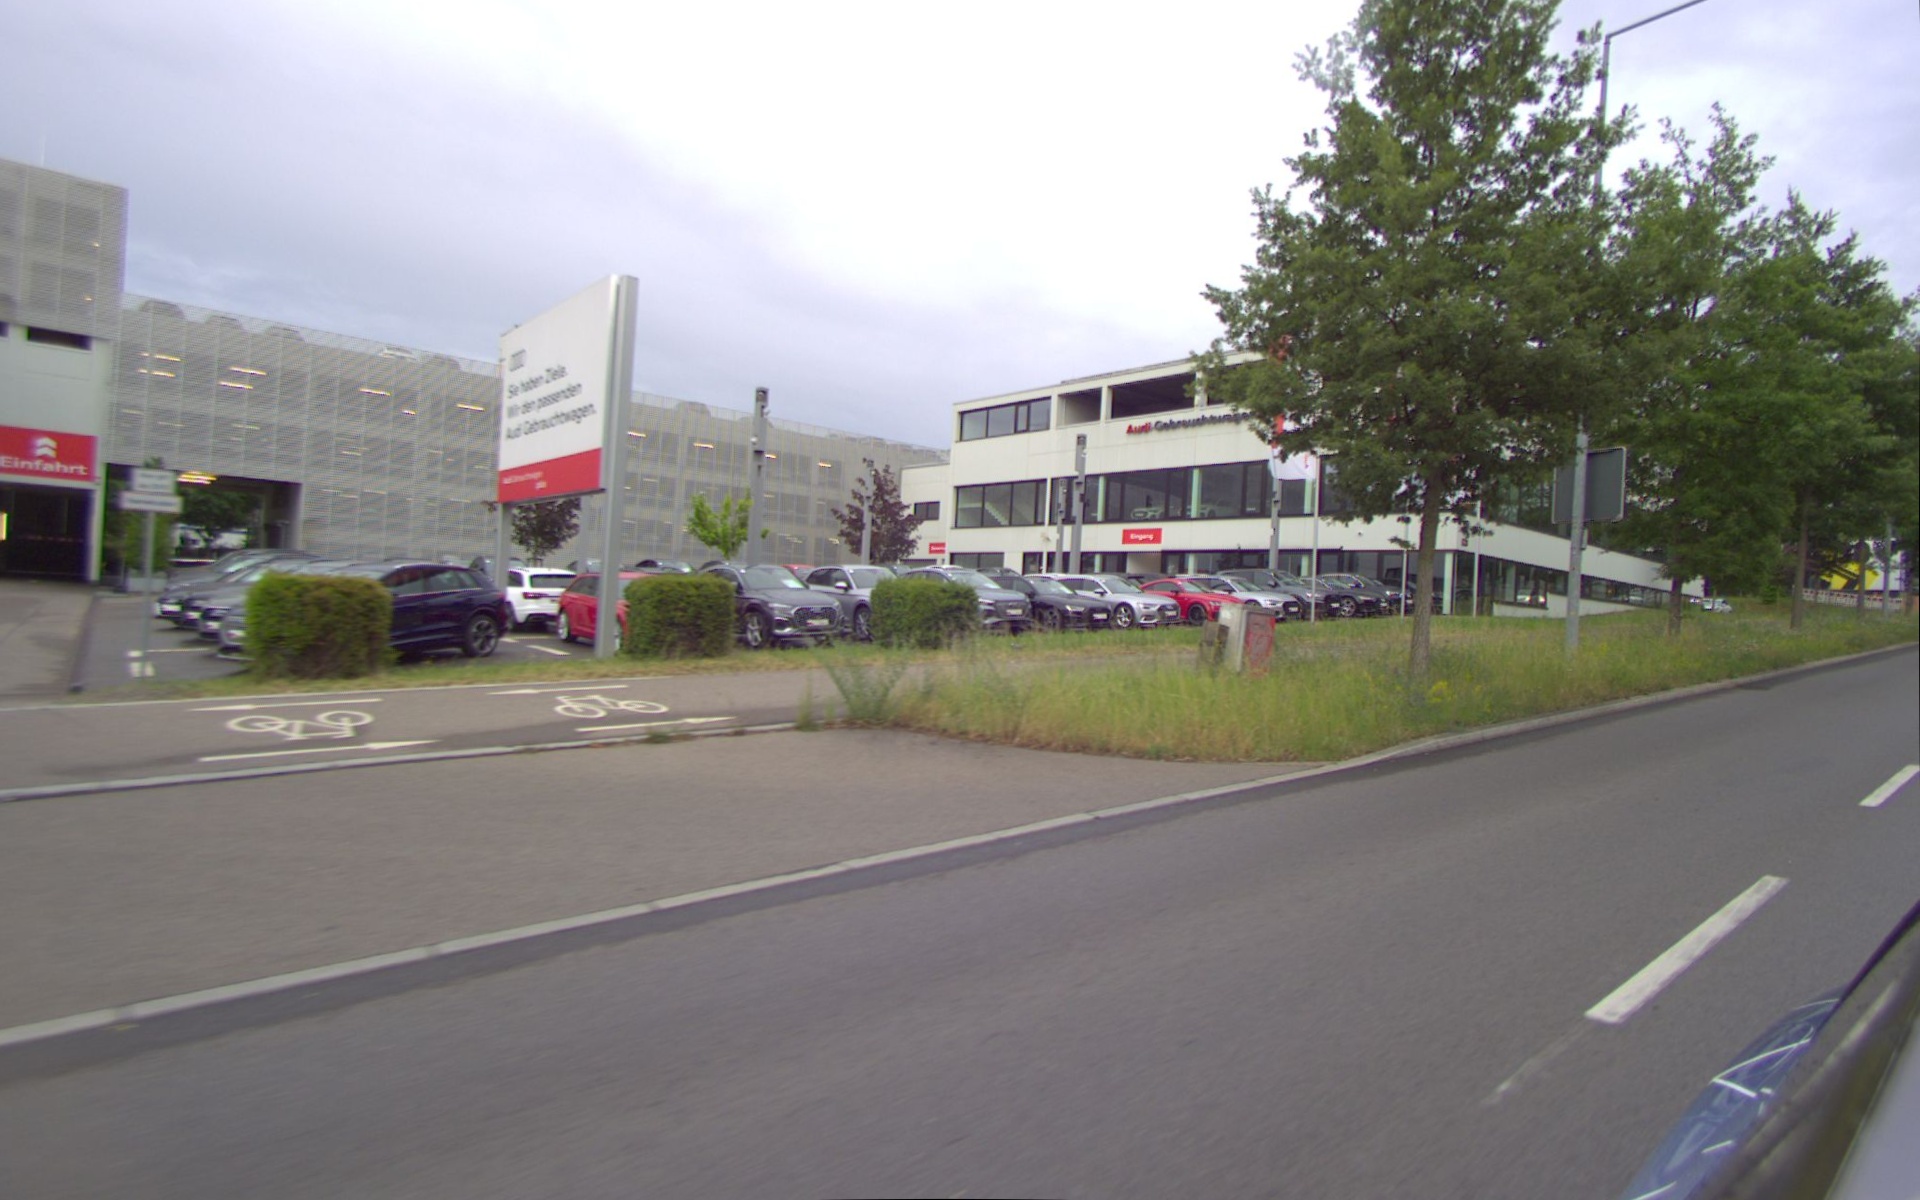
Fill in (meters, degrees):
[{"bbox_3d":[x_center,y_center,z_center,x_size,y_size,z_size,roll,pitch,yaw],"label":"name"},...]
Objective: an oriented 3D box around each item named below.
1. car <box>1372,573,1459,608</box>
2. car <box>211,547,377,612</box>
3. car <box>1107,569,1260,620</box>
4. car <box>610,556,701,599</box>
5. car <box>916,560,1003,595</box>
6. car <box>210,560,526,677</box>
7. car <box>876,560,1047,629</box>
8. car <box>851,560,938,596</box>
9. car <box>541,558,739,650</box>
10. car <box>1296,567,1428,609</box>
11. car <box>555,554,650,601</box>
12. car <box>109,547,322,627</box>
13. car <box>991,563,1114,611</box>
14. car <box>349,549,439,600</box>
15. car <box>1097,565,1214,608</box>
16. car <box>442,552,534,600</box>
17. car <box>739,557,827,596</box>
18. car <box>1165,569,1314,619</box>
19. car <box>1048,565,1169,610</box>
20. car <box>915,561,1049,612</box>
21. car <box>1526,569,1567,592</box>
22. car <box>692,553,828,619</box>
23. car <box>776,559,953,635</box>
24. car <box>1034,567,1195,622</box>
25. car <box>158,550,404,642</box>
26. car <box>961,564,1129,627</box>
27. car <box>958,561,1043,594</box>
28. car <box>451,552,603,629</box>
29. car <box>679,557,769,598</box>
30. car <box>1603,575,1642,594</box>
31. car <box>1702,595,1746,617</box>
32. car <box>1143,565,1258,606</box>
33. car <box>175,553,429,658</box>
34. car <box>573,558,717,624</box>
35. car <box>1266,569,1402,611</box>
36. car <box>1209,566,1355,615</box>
[{"bbox_3d":[18.916,-0.413,41.985,3.854,1.355,1.901,-1,2,-41],"label":"car"},{"bbox_3d":[-18.298,-0.585,27.984,1.749,1.613,3.542,3,2,17],"label":"car"},{"bbox_3d":[6.855,-0.221,31.413,1.897,1.364,4.407,-1,3,-41],"label":"car"},{"bbox_3d":[-12.030,-0.903,39.856,1.796,1.613,4.283,-1,2,-42],"label":"car"},{"bbox_3d":[-0.062,-1.099,48.546,1.796,1.613,4.283,-1,2,-42],"label":"car"},{"bbox_3d":[-9.337,0.191,16.429,1.814,1.613,4.335,1,2,18],"label":"car"},{"bbox_3d":[-0.045,-0.207,25.732,1.897,1.547,4.470,-1,3,-41],"label":"car"},{"bbox_3d":[-3.106,-1.047,47.066,1.796,1.613,4.283,-1,2,-42],"label":"car"},{"bbox_3d":[-6.325,0.001,19.703,1.900,1.570,4.464,-1,2,-44],"label":"car"},{"bbox_3d":[15.529,-0.504,39.289,1.897,1.500,4.406,-1,2,-41],"label":"car"},{"bbox_3d":[-13.186,-0.854,37.216,1.796,1.613,4.283,-1,2,-42],"label":"car"},{"bbox_3d":[-16.735,-0.328,22.944,1.749,1.613,3.542,3,2,17],"label":"car"},{"bbox_3d":[3.198,-0.497,35.643,1.796,1.570,4.283,-1,2,-42],"label":"car"},{"bbox_3d":[-19.225,-0.866,34.303,1.796,1.613,4.283,-1,2,-42],"label":"car"},{"bbox_3d":[7.596,-0.559,39.564,1.796,1.570,4.283,-1,2,-42],"label":"car"},{"bbox_3d":[-16.676,-0.857,35.650,1.796,1.613,4.283,-1,2,-42],"label":"car"},{"bbox_3d":[-7.696,-1.036,43.784,1.796,1.613,4.283,-1,2,-42],"label":"car"},{"bbox_3d":[9.033,-0.247,32.968,1.857,1.445,4.407,-1,3,-40],"label":"car"},{"bbox_3d":[5.445,-0.491,37.446,1.796,1.570,4.283,-1,2,-42],"label":"car"},{"bbox_3d":[0.648,-0.472,33.307,1.898,1.570,4.468,-1,2,-42],"label":"car"},{"bbox_3d":[45.208,-1.496,78.004,3.579,1.697,1.700,-1,0,-41],"label":"car"},{"bbox_3d":[-5.763,-0.448,28.846,1.967,1.669,3.992,-1,3,-44],"label":"car"},{"bbox_3d":[-2.333,-0.151,23.702,1.897,1.570,4.470,-1,3,-41],"label":"car"},{"bbox_3d":[4.399,-0.217,29.325,1.897,1.474,4.470,-1,2,-41],"label":"car"},{"bbox_3d":[-13.696,-0.135,20.705,1.749,1.613,3.972,3,2,17],"label":"car"},{"bbox_3d":[2.198,-0.184,27.237,1.897,1.473,4.470,-1,3,-41],"label":"car"},{"bbox_3d":[1.997,-1.138,50.855,1.796,1.613,4.283,-1,2,-42],"label":"car"},{"bbox_3d":[-10.523,-0.292,24.413,1.900,1.569,4.466,-1,4,-44],"label":"car"},{"bbox_3d":[-9.791,-0.943,41.808,1.796,1.613,4.283,-1,2,-42],"label":"car"},{"bbox_3d":[53.207,-1.261,81.283,3.579,1.503,1.700,-1,0,-41],"label":"car"},{"bbox_3d":[56.051,0.435,74.249,4.384,1.503,1.700,-1,0,-41],"label":"car"},{"bbox_3d":[9.671,-0.606,40.932,1.796,1.570,4.283,-1,2,-42],"label":"car"},{"bbox_3d":[-11.661,0.028,18.205,1.749,1.613,3.542,3,2,17],"label":"car"},{"bbox_3d":[-8.510,-0.311,27.121,1.900,1.570,4.465,-1,3,-44],"label":"car"},{"bbox_3d":[13.622,-0.393,37.019,1.806,1.395,4.326,-1,3,-42],"label":"car"},{"bbox_3d":[11.039,-0.388,34.897,2.004,1.519,4.407,-1,3,-40],"label":"car"}]
